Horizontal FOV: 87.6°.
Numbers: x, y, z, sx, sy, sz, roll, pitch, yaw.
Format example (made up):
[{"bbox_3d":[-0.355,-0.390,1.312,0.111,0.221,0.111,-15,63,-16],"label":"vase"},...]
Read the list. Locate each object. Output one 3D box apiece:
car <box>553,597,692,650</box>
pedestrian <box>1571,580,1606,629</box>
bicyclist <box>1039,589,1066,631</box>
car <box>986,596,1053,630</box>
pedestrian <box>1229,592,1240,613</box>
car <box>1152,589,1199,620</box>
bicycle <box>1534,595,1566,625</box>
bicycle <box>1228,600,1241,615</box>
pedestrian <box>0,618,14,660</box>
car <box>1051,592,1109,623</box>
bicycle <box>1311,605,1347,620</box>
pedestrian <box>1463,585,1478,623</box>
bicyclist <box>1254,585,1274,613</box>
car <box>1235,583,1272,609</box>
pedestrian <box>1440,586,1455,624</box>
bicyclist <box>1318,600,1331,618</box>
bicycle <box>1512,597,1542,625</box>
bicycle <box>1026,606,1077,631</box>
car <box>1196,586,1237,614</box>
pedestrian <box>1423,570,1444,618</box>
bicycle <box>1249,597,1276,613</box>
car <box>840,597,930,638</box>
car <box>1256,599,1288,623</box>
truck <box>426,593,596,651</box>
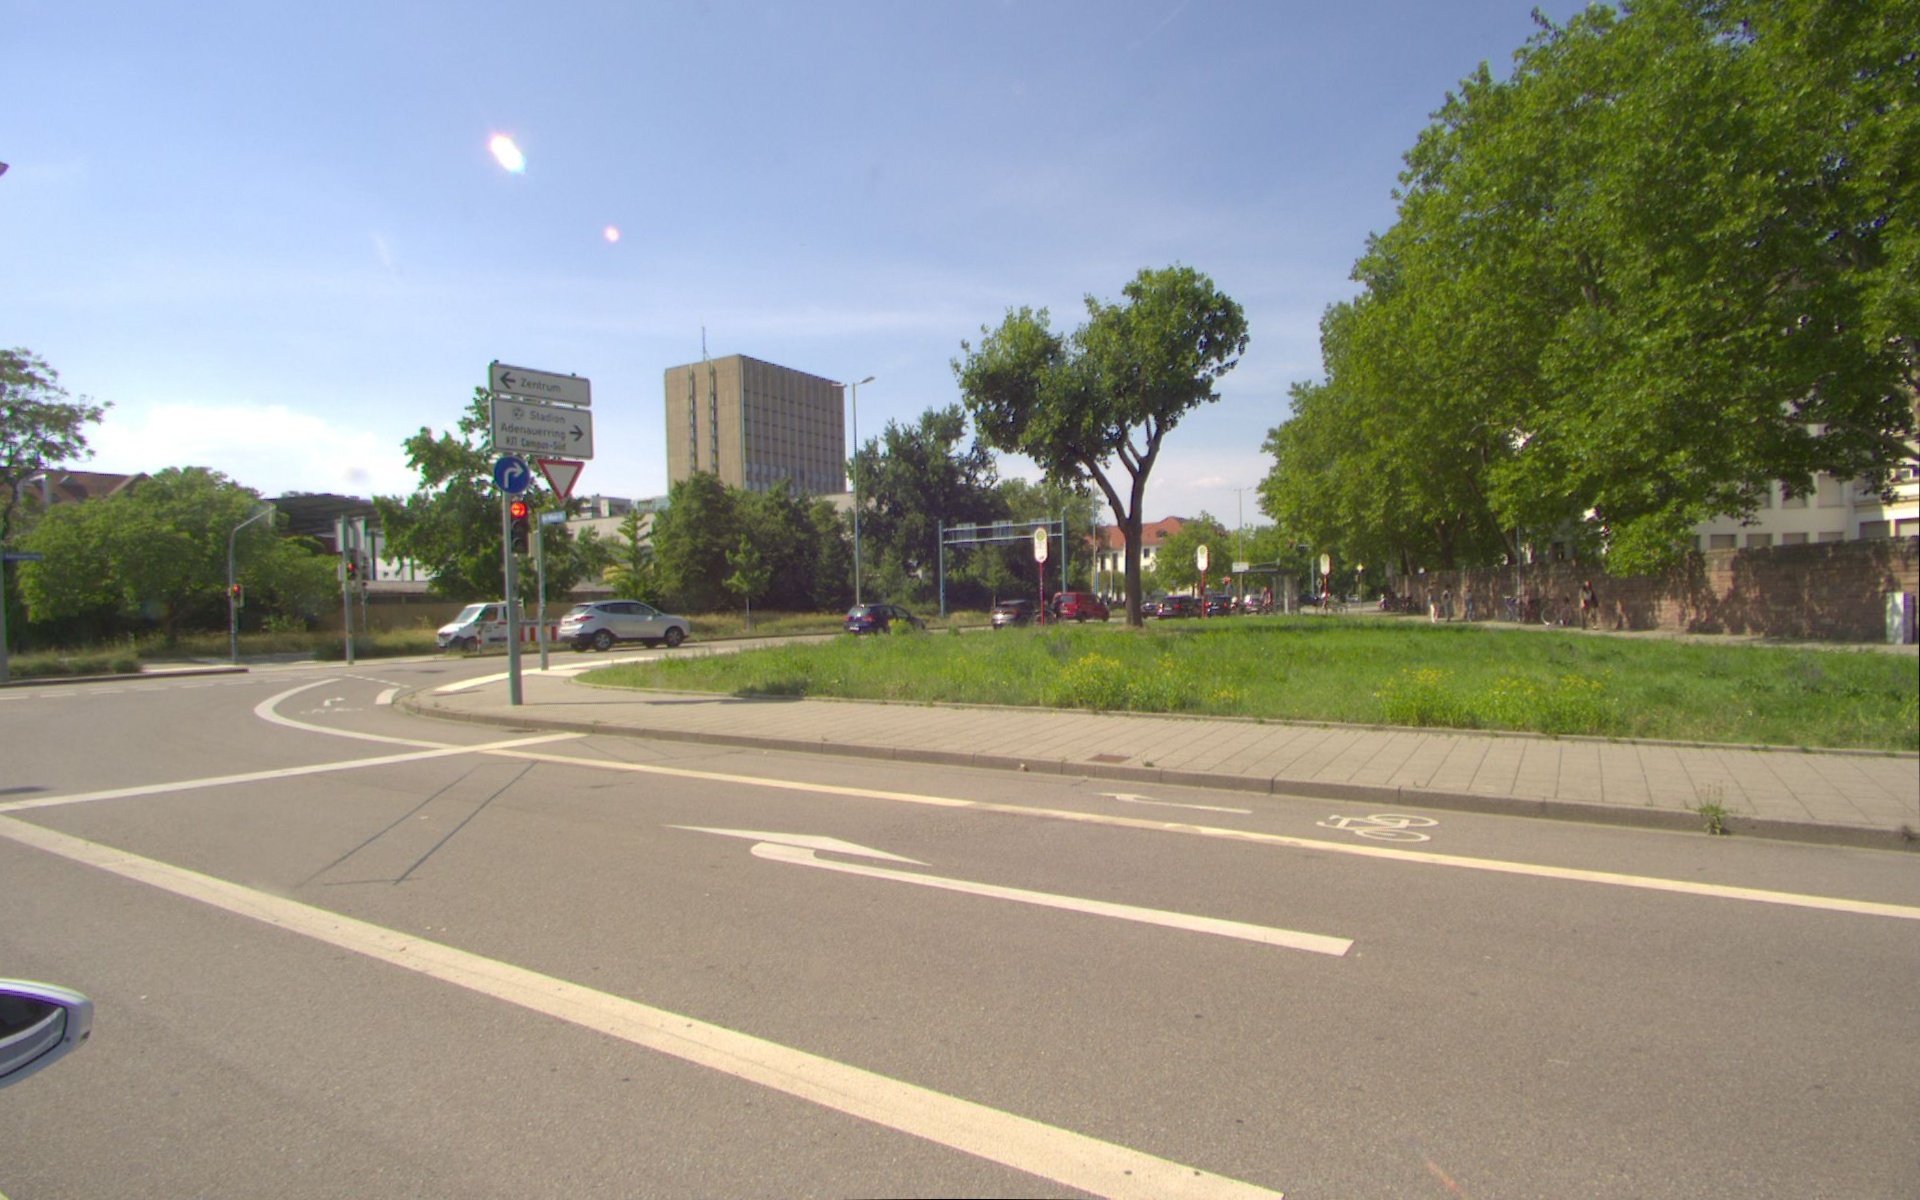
[{"bbox_3d":[-11.451,0.750,34.212,1.693,1.640,4.178,0,1,44],"label":"car"},{"bbox_3d":[20.527,0.143,32.709,0.493,1.569,0.913,-1,1,-4],"label":"pedestrian"},{"bbox_3d":[4.594,0.518,49.914,0.769,2.039,1.265,-1,-2,38],"label":"bicyclist"},{"bbox_3d":[3.105,0.647,51.741,1.564,1.612,3.972,-1,1,37],"label":"car"},{"bbox_3d":[19.189,0.155,69.957,0.552,1.458,0.729,0,1,30],"label":"pedestrian"},{"bbox_3d":[14.679,0.294,68.175,1.970,2.041,3.980,-1,1,30],"label":"car"},{"bbox_3d":[21.657,0.357,36.779,0.439,1.047,1.447,-1,1,6],"label":"bicycle"},{"bbox_3d":[19.204,0.524,69.971,0.552,1.066,1.318,-1,1,30],"label":"bicycle"},{"bbox_3d":[-37.013,1.515,38.481,0.683,1.600,0.809,-1,1,34],"label":"pedestrian"},{"bbox_3d":[7.685,0.464,63.688,1.950,1.821,4.587,-1,1,31],"label":"car"},{"bbox_3d":[40.842,1.387,110.818,3.583,1.626,1.092,-1,-2,29],"label":"bicycle"},{"bbox_3d":[21.877,0.166,42.906,0.515,1.599,0.701,-1,1,23],"label":"pedestrian"},{"bbox_3d":[18.545,-0.042,61.078,1.068,1.659,0.486,-1,1,29],"label":"bicyclist"},{"bbox_3d":[24.178,-0.364,82.417,1.970,2.041,3.980,-1,1,30],"label":"car"},{"bbox_3d":[21.019,0.202,43.210,0.515,1.599,0.701,-1,1,23],"label":"pedestrian"},{"bbox_3d":[40.438,0.997,111.067,1.160,2.039,1.094,-1,-1,29],"label":"bicyclist"},{"bbox_3d":[21.824,0.428,38.562,0.439,1.047,1.447,-1,1,6],"label":"bicycle"},{"bbox_3d":[4.597,0.941,49.899,0.838,1.233,3.462,-1,-2,37],"label":"bicycle"},{"bbox_3d":[19.375,-0.004,75.407,1.970,2.041,3.980,-1,1,30],"label":"car"},{"bbox_3d":[20.127,-0.252,42.570,0.513,2.040,0.596,-2,1,-9],"label":"pedestrian"},{"bbox_3d":[18.453,0.294,61.042,1.912,0.899,0.679,-2,1,-42],"label":"bicycle"},{"bbox_3d":[-3.122,0.710,42.484,1.564,1.612,3.972,-1,1,37],"label":"car"},{"bbox_3d":[27.490,1.019,88.151,1.970,2.039,3.984,-1,-2,29],"label":"car"},{"bbox_3d":[-20.647,0.928,46.495,2.379,2.387,7.007,-1,1,33],"label":"truck"}]
